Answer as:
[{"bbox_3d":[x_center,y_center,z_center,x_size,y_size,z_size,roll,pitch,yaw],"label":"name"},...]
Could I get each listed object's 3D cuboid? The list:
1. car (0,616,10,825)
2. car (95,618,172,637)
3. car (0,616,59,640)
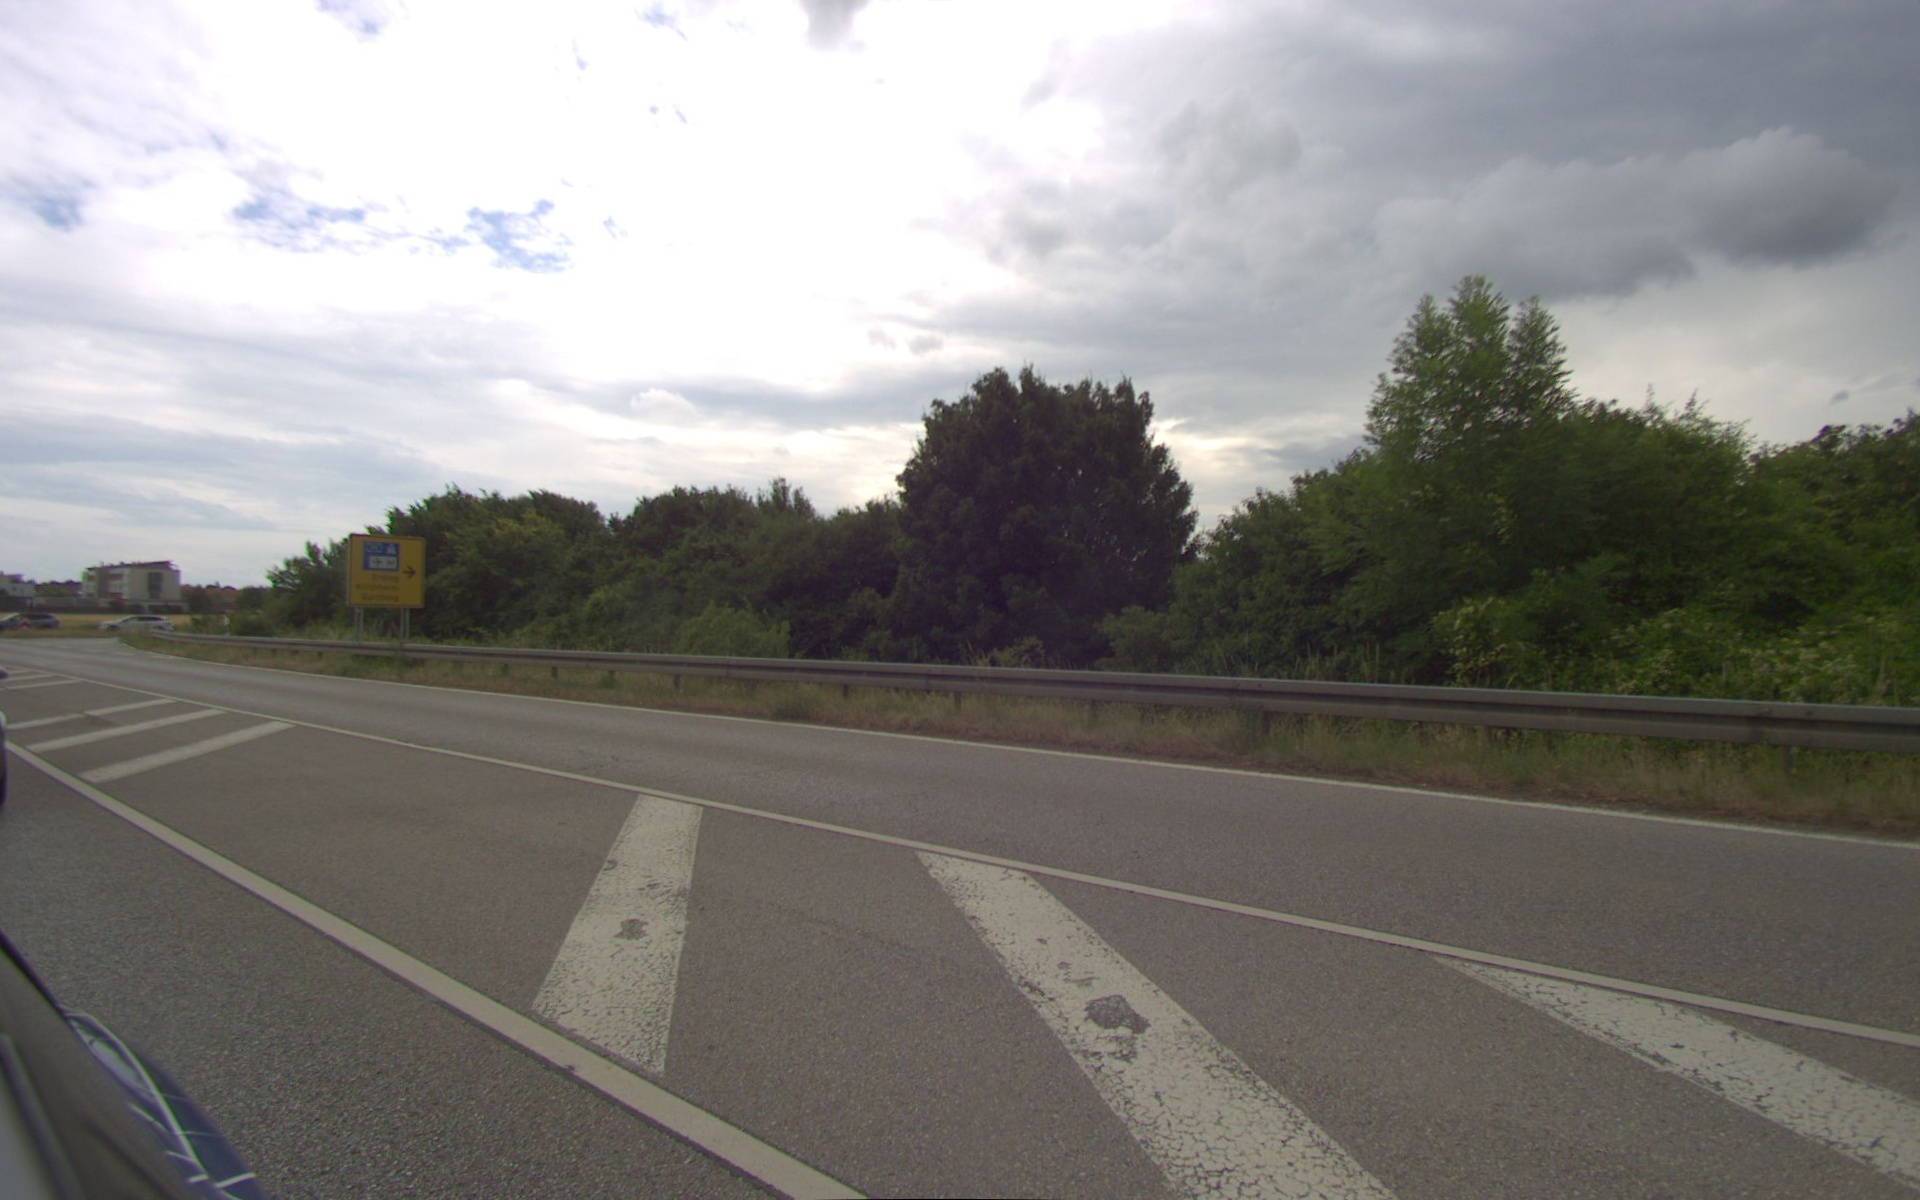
[{"bbox_3d":[-8.816,0.854,7.789,4.201,1.455,1.708,-1,-1,40],"label":"car"},{"bbox_3d":[-65.165,2.151,79.853,4.606,1.510,2.003,1,-1,-41],"label":"car"},{"bbox_3d":[-69.608,2.028,74.392,1.996,1.702,4.758,-1,-1,36],"label":"car"}]
